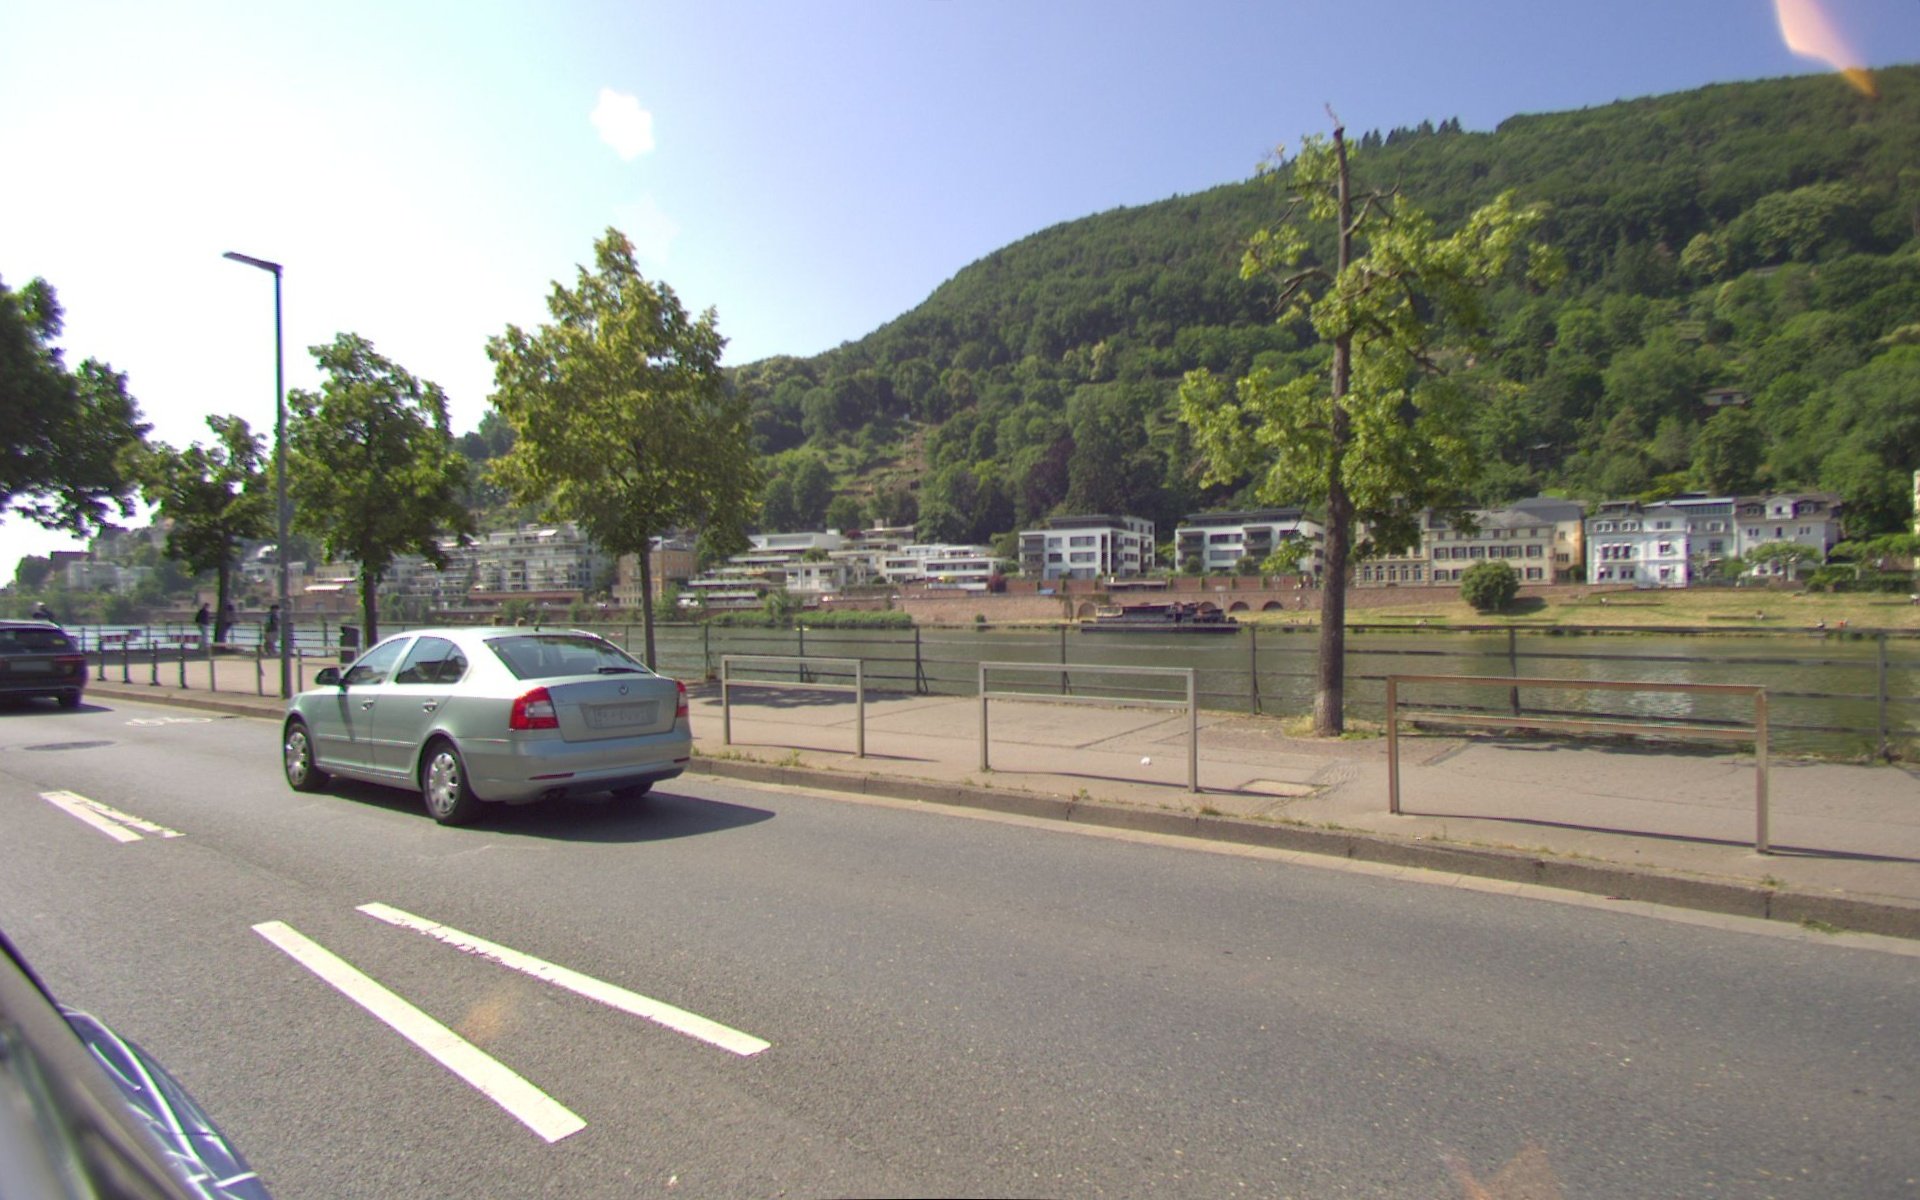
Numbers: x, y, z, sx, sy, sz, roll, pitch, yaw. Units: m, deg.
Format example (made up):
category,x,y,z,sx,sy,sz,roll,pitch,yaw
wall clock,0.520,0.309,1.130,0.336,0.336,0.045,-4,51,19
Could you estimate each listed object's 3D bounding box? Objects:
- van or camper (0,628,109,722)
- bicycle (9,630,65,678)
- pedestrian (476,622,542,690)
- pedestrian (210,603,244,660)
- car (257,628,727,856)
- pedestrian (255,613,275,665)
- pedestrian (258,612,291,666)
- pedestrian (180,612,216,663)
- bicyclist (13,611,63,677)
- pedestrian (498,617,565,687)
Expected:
category,x,y,z,sx,sy,sz,roll,pitch,yaw
van or camper,-16.735,1.220,17.449,4.671,1.466,1.976,-1,-2,35
bicycle,-24.236,1.410,26.563,1.891,1.177,0.705,-2,-1,35
pedestrian,-8.963,1.099,20.106,0.849,1.290,0.927,-1,-1,41
pedestrian,-25.510,1.091,35.229,0.884,1.960,0.688,-1,-1,32
car,-4.044,0.986,8.460,4.304,1.439,1.796,-2,-3,38
pedestrian,-21.803,1.210,31.749,0.450,1.609,0.410,-1,-1,40
pedestrian,-21.324,1.207,31.485,0.663,1.628,0.686,-1,-1,40
pedestrian,-26.173,1.267,34.769,0.657,1.695,0.750,-1,2,34
bicyclist,-24.135,1.152,26.481,1.086,1.680,0.734,-2,-1,34
pedestrian,-8.263,0.977,19.523,0.849,1.290,0.927,-1,-1,41
